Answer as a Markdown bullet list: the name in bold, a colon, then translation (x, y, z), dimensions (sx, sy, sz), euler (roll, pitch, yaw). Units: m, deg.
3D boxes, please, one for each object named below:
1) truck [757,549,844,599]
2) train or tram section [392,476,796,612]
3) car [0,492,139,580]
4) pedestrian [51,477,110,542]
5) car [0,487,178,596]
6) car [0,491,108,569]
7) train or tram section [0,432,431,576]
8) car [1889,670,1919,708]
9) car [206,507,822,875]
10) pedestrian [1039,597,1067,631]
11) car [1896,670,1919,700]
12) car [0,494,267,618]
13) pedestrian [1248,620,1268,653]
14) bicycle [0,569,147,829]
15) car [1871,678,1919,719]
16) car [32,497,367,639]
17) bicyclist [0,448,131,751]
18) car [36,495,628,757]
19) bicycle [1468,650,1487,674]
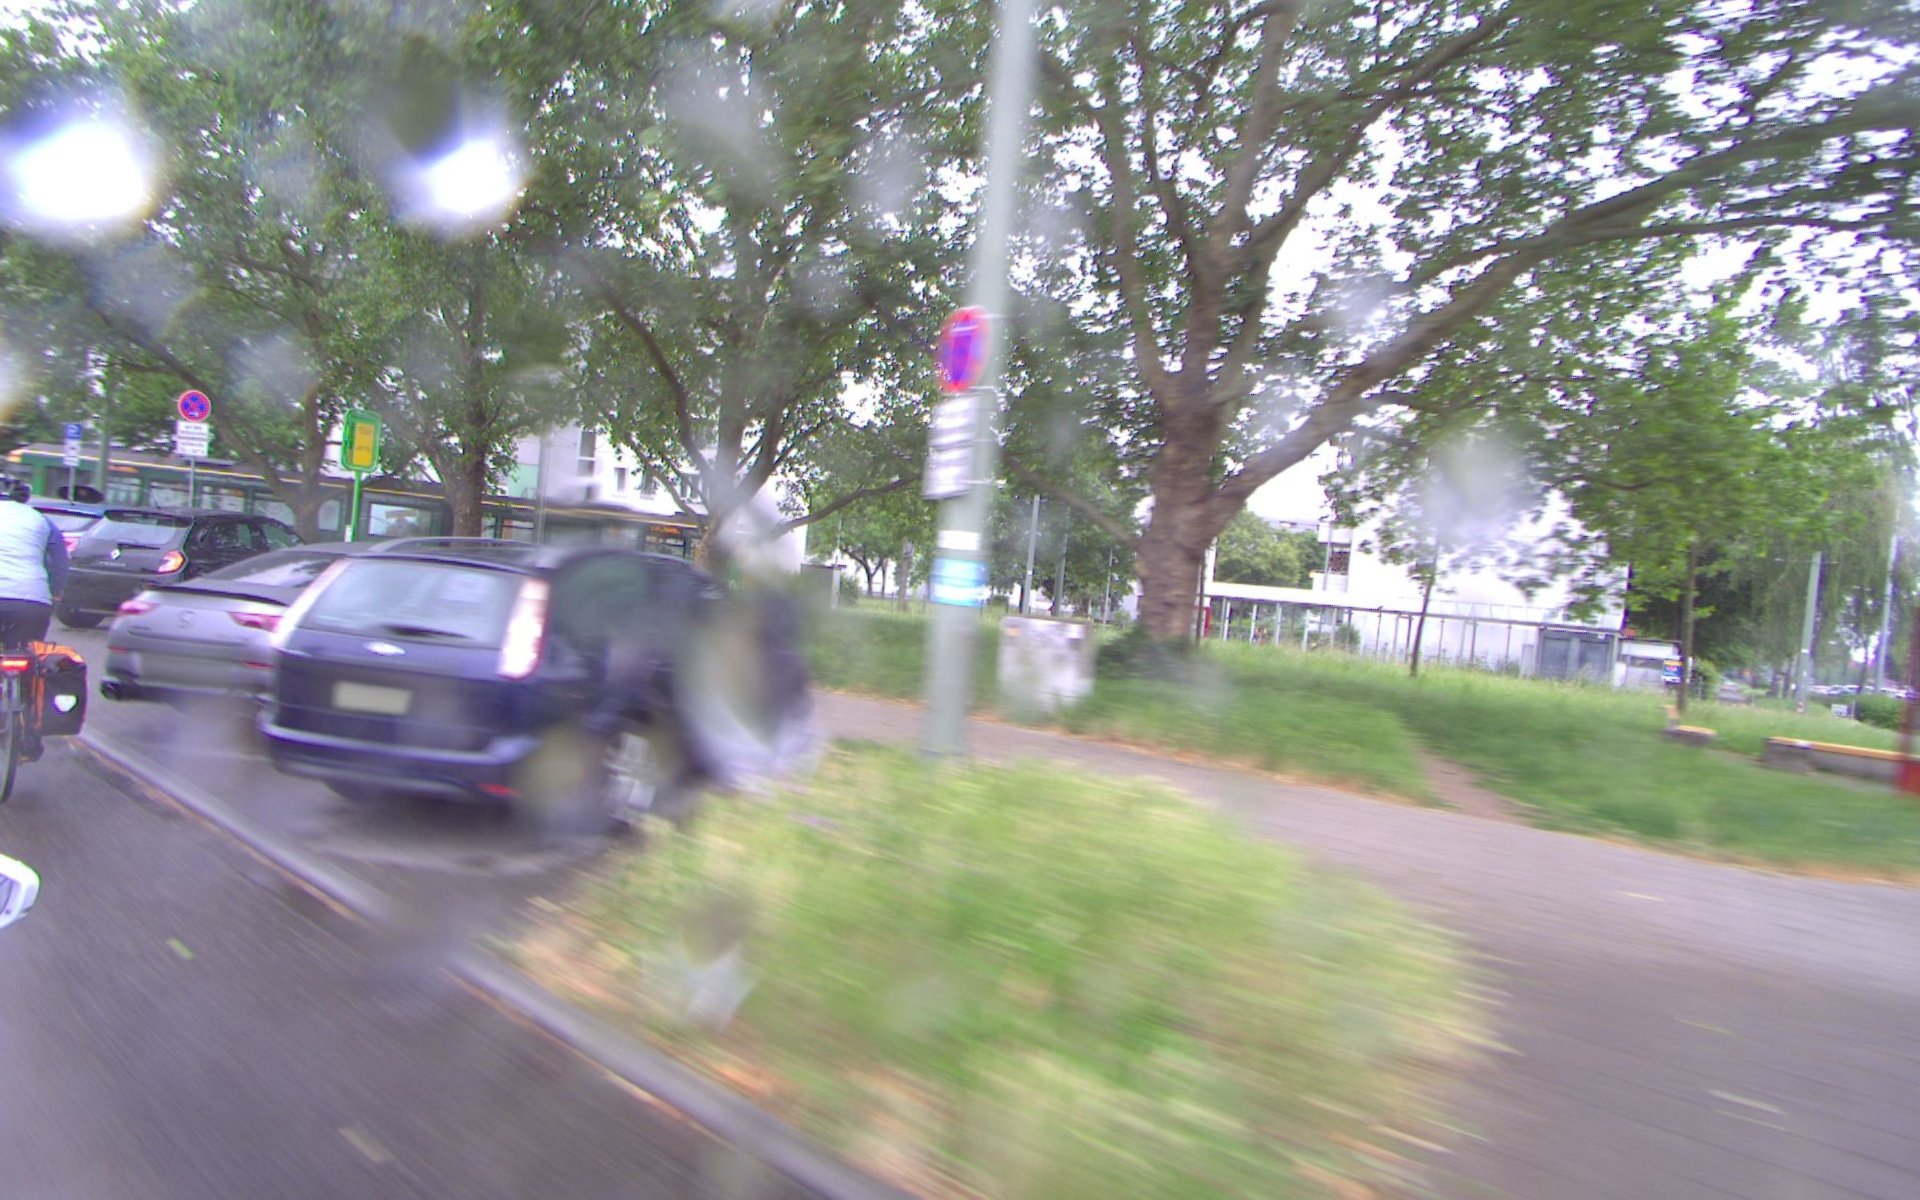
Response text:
- **truck**: translation (-12.514, -2.079, 78.426), dimensions (3.178, 3.517, 7.067), euler (4, 0, -42)
- **train or tram section**: translation (-13.972, -2.051, 39.689), dimensions (14.479, 3.634, 2.712), euler (6, 0, -8)
- **car**: translation (-17.512, -1.195, 18.103), dimensions (1.831, 1.500, 4.120), euler (6, 2, 5)
- **pedestrian**: translation (-25.572, -2.624, 29.257), dimensions (1.064, 1.737, 1.043), euler (7, 2, 37)
- **car**: translation (-15.015, -0.958, 16.155), dimensions (1.925, 1.574, 3.994), euler (4, 1, -4)
- **car**: translation (-19.813, -1.476, 20.419), dimensions (1.606, 1.500, 3.597), euler (6, 2, 10)
- **train or tram section**: translation (-28.251, -3.513, 37.852), dimensions (14.479, 3.634, 2.712), euler (6, 0, -8)
- **car**: translation (50.344, 4.691, 51.113), dimensions (4.382, 1.869, 1.715), euler (4, 0, 39)
- **car**: translation (-2.375, 0.417, 6.706), dimensions (1.770, 1.495, 4.177), euler (6, 1, 6)
- **pedestrian**: translation (5.558, 0.836, 60.278), dimensions (1.174, 1.907, 1.048), euler (4, 0, -25)
- **car**: translation (68.256, 6.080, 69.813), dimensions (4.481, 1.967, 1.891), euler (5, 0, 37)
- **car**: translation (-12.497, -0.705, 14.924), dimensions (1.790, 1.522, 3.992), euler (4, 3, -3)
- **pedestrian**: translation (14.809, 1.825, 49.919), dimensions (0.627, 1.592, 0.786), euler (4, 0, 37)
- **bicycle**: translation (-5.166, 0.446, 5.379), dimensions (1.897, 1.087, 0.752), euler (8, 2, 36)
- **car**: translation (53.367, 5.528, 55.405), dimensions (4.377, 2.088, 1.717), euler (4, 0, 35)
- **car**: translation (-9.836, -0.424, 13.390), dimensions (1.721, 1.526, 3.513), euler (4, 2, 1)
- **bicyclist**: translation (-5.019, -0.032, 5.292), dimensions (0.833, 1.505, 0.750), euler (8, 3, 36)
- **car**: translation (-4.825, 0.171, 8.723), dimensions (1.770, 1.495, 4.550), euler (6, 1, 8)
- **bicycle**: translation (21.909, 2.634, 42.600), dimensions (0.372, 0.968, 1.231), euler (4, 0, 40)
